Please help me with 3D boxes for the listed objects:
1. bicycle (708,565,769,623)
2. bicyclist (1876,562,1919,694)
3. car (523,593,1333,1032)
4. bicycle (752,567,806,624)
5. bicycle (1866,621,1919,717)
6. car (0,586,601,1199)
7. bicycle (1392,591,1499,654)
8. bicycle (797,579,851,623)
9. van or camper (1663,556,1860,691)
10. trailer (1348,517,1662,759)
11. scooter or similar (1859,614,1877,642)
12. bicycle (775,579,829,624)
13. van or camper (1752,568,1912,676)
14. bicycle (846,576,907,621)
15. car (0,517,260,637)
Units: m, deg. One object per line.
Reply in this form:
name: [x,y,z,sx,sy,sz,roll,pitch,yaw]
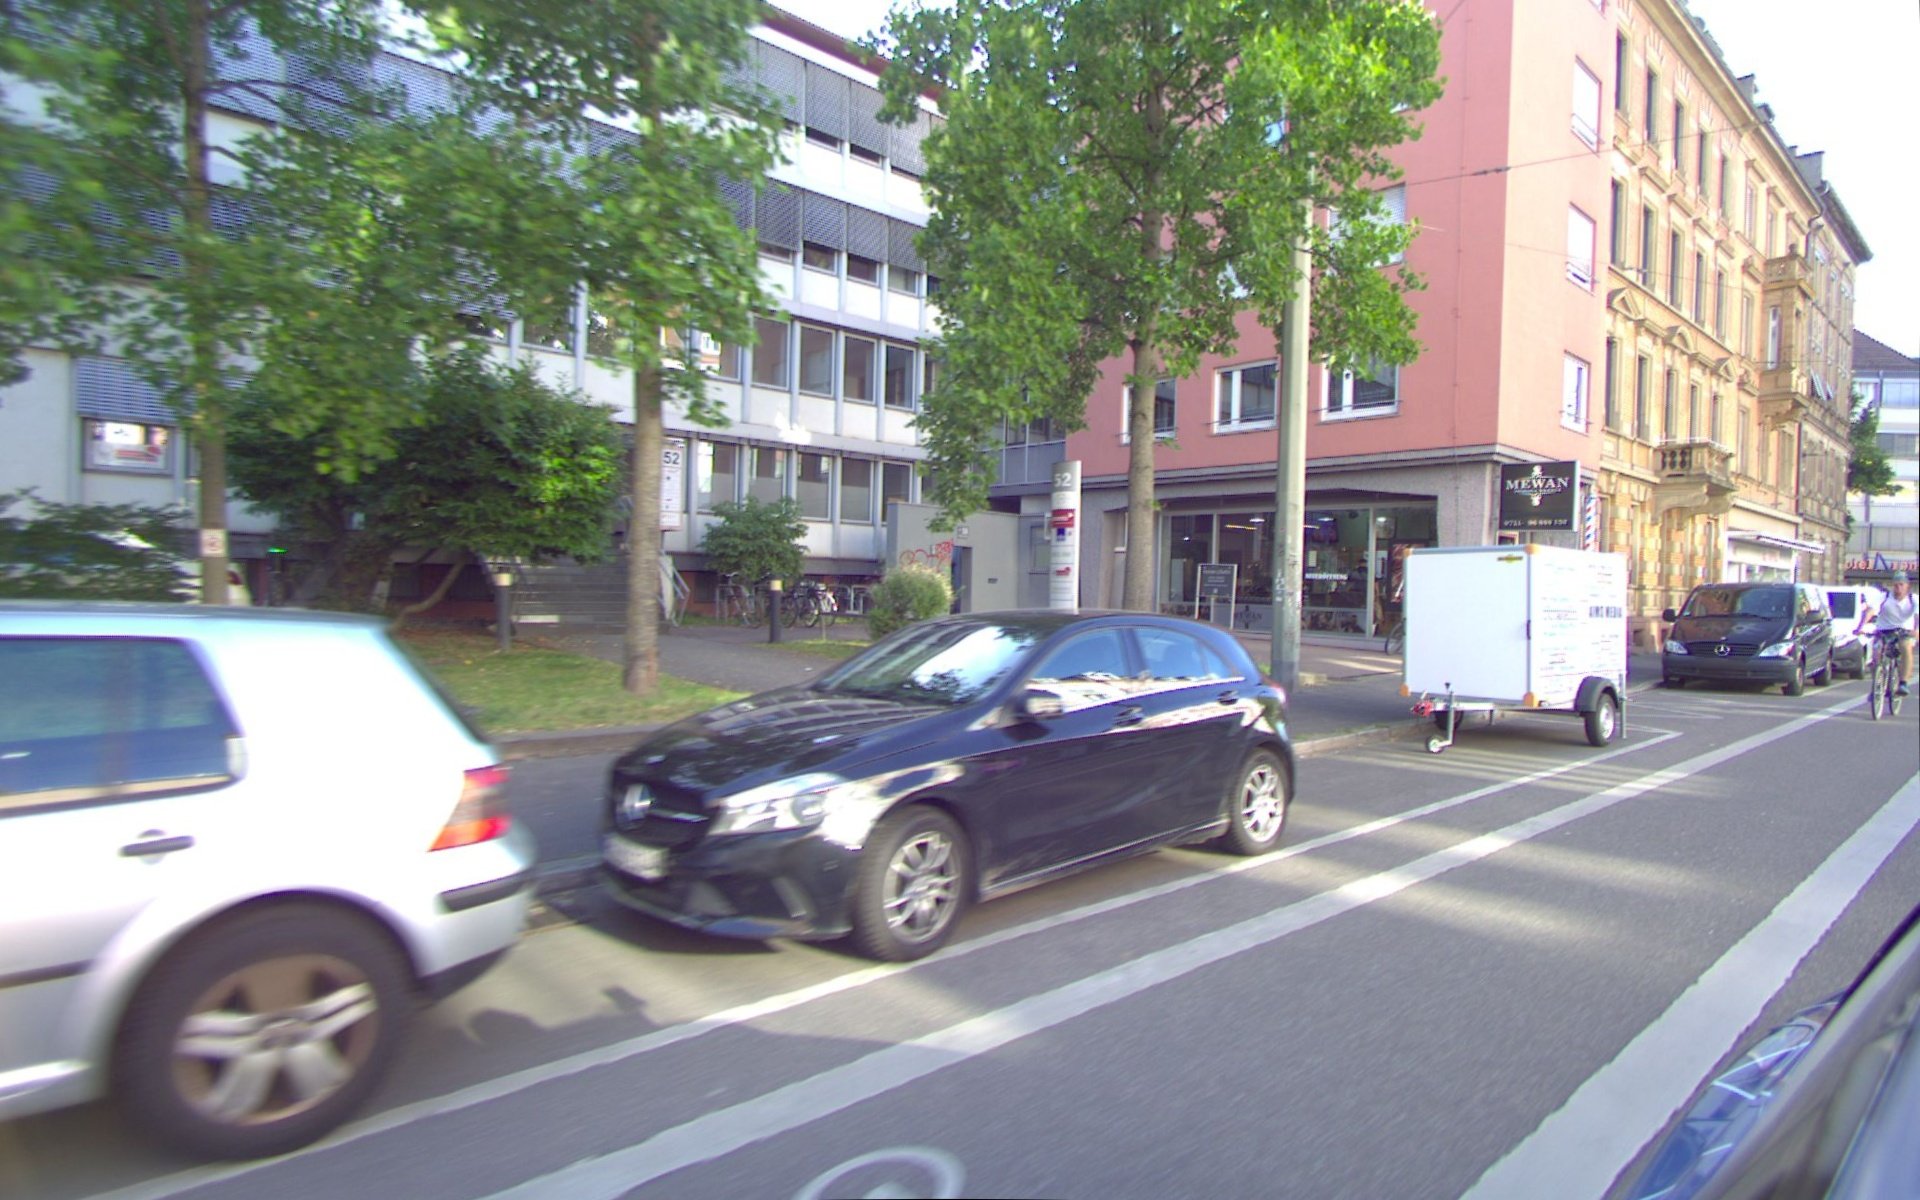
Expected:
bicycle: [-4.766,-0.135,21.745,1.584,1.128,0.442,5,3,44]
bicyclist: [12.508,0.357,13.271,0.912,1.676,0.655,1,0,-45]
car: [0.134,0.717,5.475,4.250,1.453,1.804,0,-1,-43]
bicycle: [-3.987,-0.110,22.232,0.441,1.139,1.588,1,3,-38]
bicycle: [12.521,0.873,13.362,2.060,1.153,0.648,1,1,-43]
car: [-3.313,0.691,2.510,4.233,1.461,1.755,1,0,-36]
bicycle: [9.600,0.434,20.049,1.846,1.147,0.427,2,1,1]
bicycle: [-3.124,0.009,23.148,0.441,0.886,1.588,1,3,-38]
van or camper: [14.421,0.374,18.083,5.240,2.071,1.973,1,0,-43]
trailer: [5.911,0.342,10.810,3.773,2.144,1.664,1,0,-40]
scooter or similar: [44.600,1.361,49.698,0.389,1.305,1.504,2,1,33]
bicycle: [-3.556,0.021,22.729,0.441,0.886,1.588,1,3,-38]
van or camper: [18.942,0.401,21.880,5.381,2.062,1.934,0,0,-42]
bicycle: [-2.033,-0.053,24.538,1.581,0.974,0.443,5,3,39]
car: [-11.955,-0.318,13.573,1.789,1.482,3.939,3,2,42]
